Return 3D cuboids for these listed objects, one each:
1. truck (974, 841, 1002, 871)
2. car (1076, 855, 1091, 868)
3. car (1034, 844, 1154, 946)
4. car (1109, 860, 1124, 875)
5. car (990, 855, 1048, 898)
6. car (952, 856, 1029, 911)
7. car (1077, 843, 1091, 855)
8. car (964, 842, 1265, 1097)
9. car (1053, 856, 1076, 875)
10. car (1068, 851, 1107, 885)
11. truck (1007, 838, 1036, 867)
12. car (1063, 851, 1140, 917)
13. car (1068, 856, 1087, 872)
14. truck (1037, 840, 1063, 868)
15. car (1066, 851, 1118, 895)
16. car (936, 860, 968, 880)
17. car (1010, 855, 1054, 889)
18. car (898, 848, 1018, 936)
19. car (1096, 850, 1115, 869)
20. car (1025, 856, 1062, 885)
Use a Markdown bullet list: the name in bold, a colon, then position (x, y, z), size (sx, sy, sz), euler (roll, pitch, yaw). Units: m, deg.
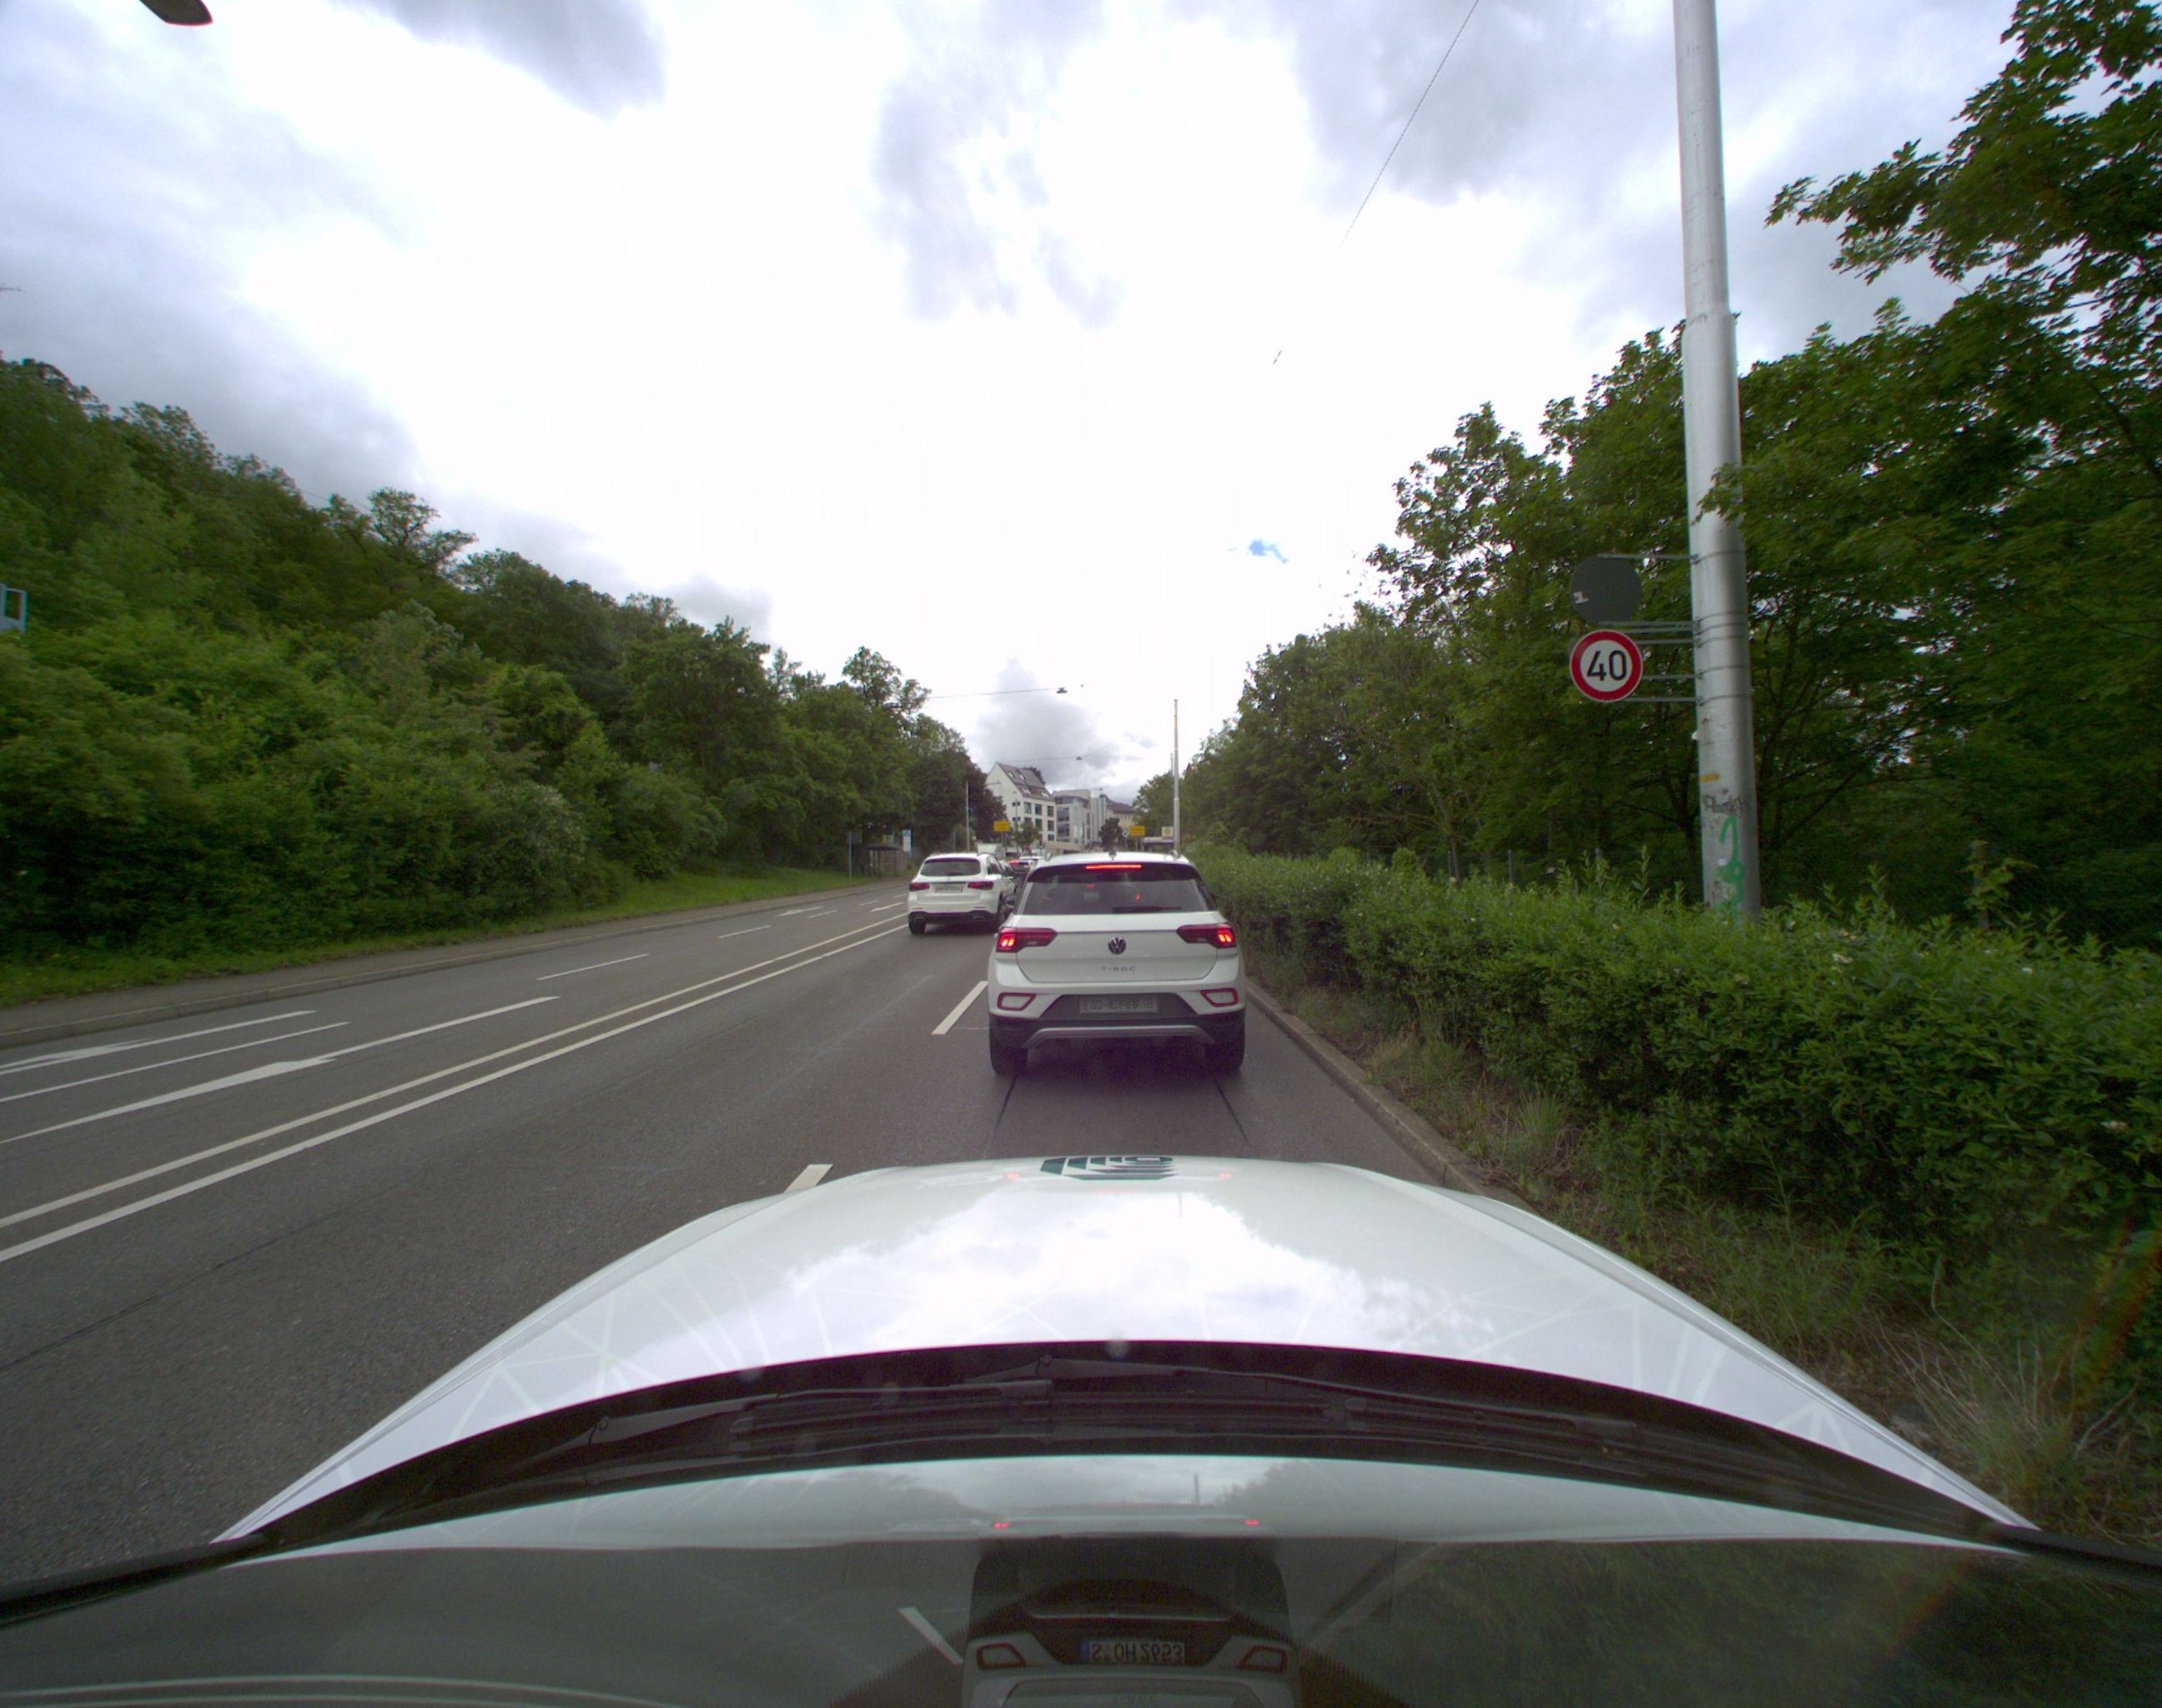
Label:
- **truck**: position (-10.289, 0.257, 90.479), size (2.286, 3.051, 6.977), euler (-3, -1, 0)
- **car**: position (0.331, 1.025, 109.298), size (1.809, 1.656, 3.929), euler (-3, 0, 1)
- **car**: position (0.234, 0.652, 14.776), size (1.823, 1.526, 4.001), euler (-2, 0, 1)
- **car**: position (4.866, 1.863, 112.112), size (1.986, 2.014, 4.002), euler (-3, -2, 2)
- **car**: position (-2.352, 0.821, 31.844), size (1.823, 1.526, 4.001), euler (-2, 0, 1)
- **car**: position (-2.716, 0.843, 25.300), size (1.823, 1.497, 4.001), euler (-2, 0, 1)
- **car**: position (0.447, -0.724, 117.044), size (1.823, 1.526, 4.001), euler (-2, 0, 1)
- **car**: position (0.245, 0.718, 7.042), size (1.823, 1.526, 4.001), euler (-2, 0, 1)
- **car**: position (-1.427, 1.016, 72.220), size (1.823, 1.526, 4.001), euler (-2, 0, 1)
- **car**: position (0.355, 0.669, 41.004), size (1.823, 1.526, 4.001), euler (-2, 0, 1)
- **truck**: position (-5.904, -0.158, 81.131), size (2.354, 2.706, 4.478), euler (-3, 0, 1)
- **car**: position (0.542, 0.739, 21.829), size (1.823, 1.526, 4.001), euler (-2, 0, 1)
- **car**: position (-0.346, 1.053, 83.374), size (1.823, 1.526, 4.001), euler (-2, 0, 1)
- **truck**: position (-3.215, -0.035, 85.569), size (2.354, 2.782, 4.478), euler (-3, 0, 1)
- **car**: position (0.439, 0.708, 31.851), size (1.823, 1.526, 4.001), euler (-2, 0, 1)
- **car**: position (-10.084, 1.219, 63.922), size (1.673, 1.395, 4.361), euler (-3, 0, 1)
- **car**: position (-2.354, 0.863, 40.275), size (1.823, 1.526, 4.001), euler (-2, 0, 1)
- **car**: position (-2.531, 0.740, 17.695), size (1.911, 1.669, 4.001), euler (-1, 0, 1)
- **car**: position (2.761, 0.625, 91.187), size (1.986, 2.013, 4.001), euler (-2, 0, 2)
- **car**: position (-2.123, 0.919, 47.414), size (1.823, 1.526, 4.001), euler (-2, 0, 1)
